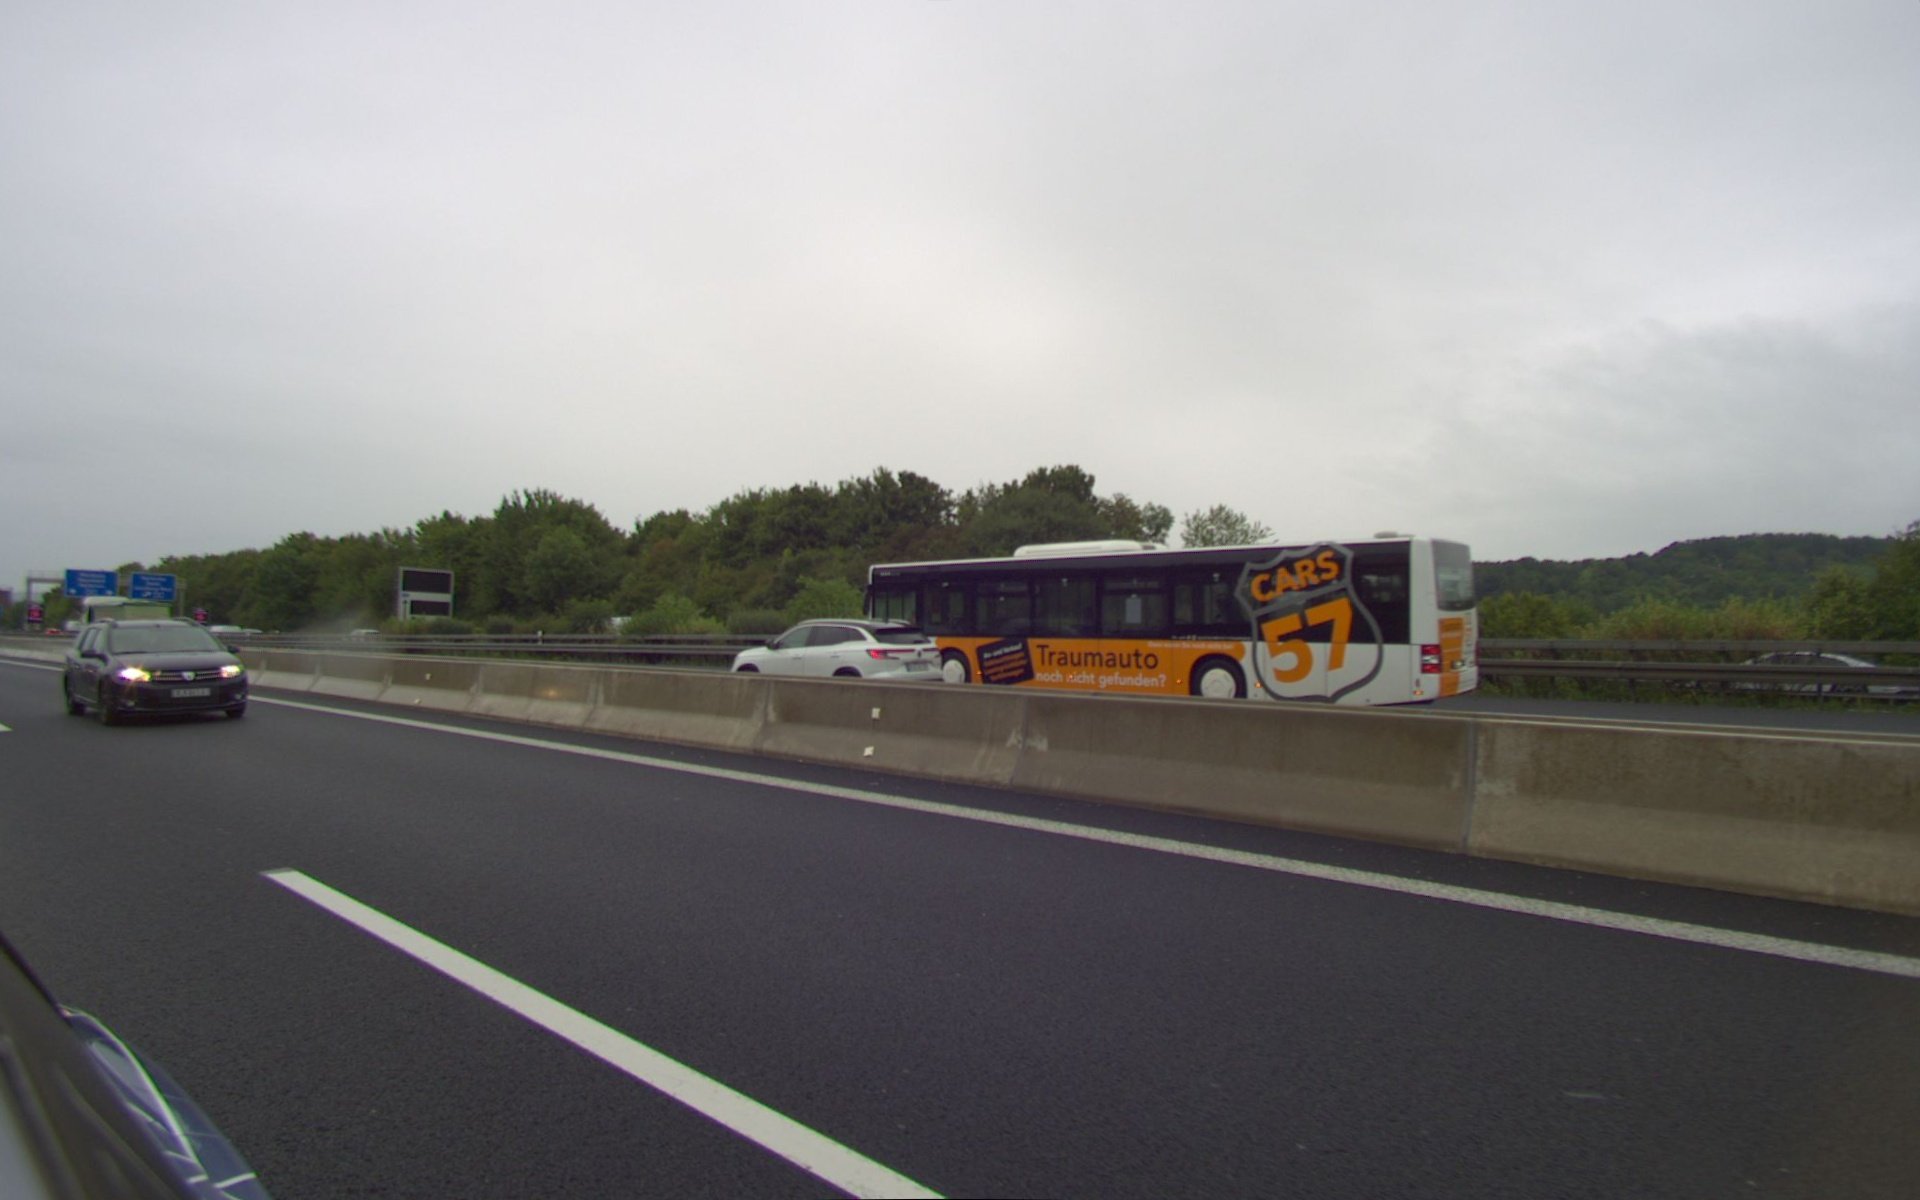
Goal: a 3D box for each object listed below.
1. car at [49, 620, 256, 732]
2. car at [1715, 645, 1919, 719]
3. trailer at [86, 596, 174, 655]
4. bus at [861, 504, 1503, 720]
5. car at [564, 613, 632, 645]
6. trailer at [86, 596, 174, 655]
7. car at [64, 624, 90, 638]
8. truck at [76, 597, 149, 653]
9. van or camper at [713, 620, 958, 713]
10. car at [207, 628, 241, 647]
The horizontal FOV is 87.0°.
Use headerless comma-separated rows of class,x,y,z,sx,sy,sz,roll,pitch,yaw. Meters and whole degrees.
car,-12.658,1.066,15.756,4.565,1.501,1.703,-1,-2,41
car,23.308,2.155,27.432,4.410,1.800,1.782,-1,-3,41
trailer,-56.397,1.696,68.663,8.919,3.777,2.874,-1,-2,39
bus,3.223,0.267,18.885,11.891,2.981,2.670,-1,-2,41
car,-21.047,1.692,58.782,4.410,1.800,1.782,-1,-3,41
trailer,-56.397,1.696,68.663,8.919,3.777,2.874,-1,-2,39
car,-125.469,4.409,143.787,5.294,2.029,1.855,-1,-2,39
truck,-59.908,1.747,71.523,5.939,3.777,2.858,-1,-2,39
van or camper,-2.318,1.089,18.064,4.583,1.458,1.730,-1,-2,41
car,-73.775,3.741,101.472,4.410,1.800,1.782,-1,-3,41
